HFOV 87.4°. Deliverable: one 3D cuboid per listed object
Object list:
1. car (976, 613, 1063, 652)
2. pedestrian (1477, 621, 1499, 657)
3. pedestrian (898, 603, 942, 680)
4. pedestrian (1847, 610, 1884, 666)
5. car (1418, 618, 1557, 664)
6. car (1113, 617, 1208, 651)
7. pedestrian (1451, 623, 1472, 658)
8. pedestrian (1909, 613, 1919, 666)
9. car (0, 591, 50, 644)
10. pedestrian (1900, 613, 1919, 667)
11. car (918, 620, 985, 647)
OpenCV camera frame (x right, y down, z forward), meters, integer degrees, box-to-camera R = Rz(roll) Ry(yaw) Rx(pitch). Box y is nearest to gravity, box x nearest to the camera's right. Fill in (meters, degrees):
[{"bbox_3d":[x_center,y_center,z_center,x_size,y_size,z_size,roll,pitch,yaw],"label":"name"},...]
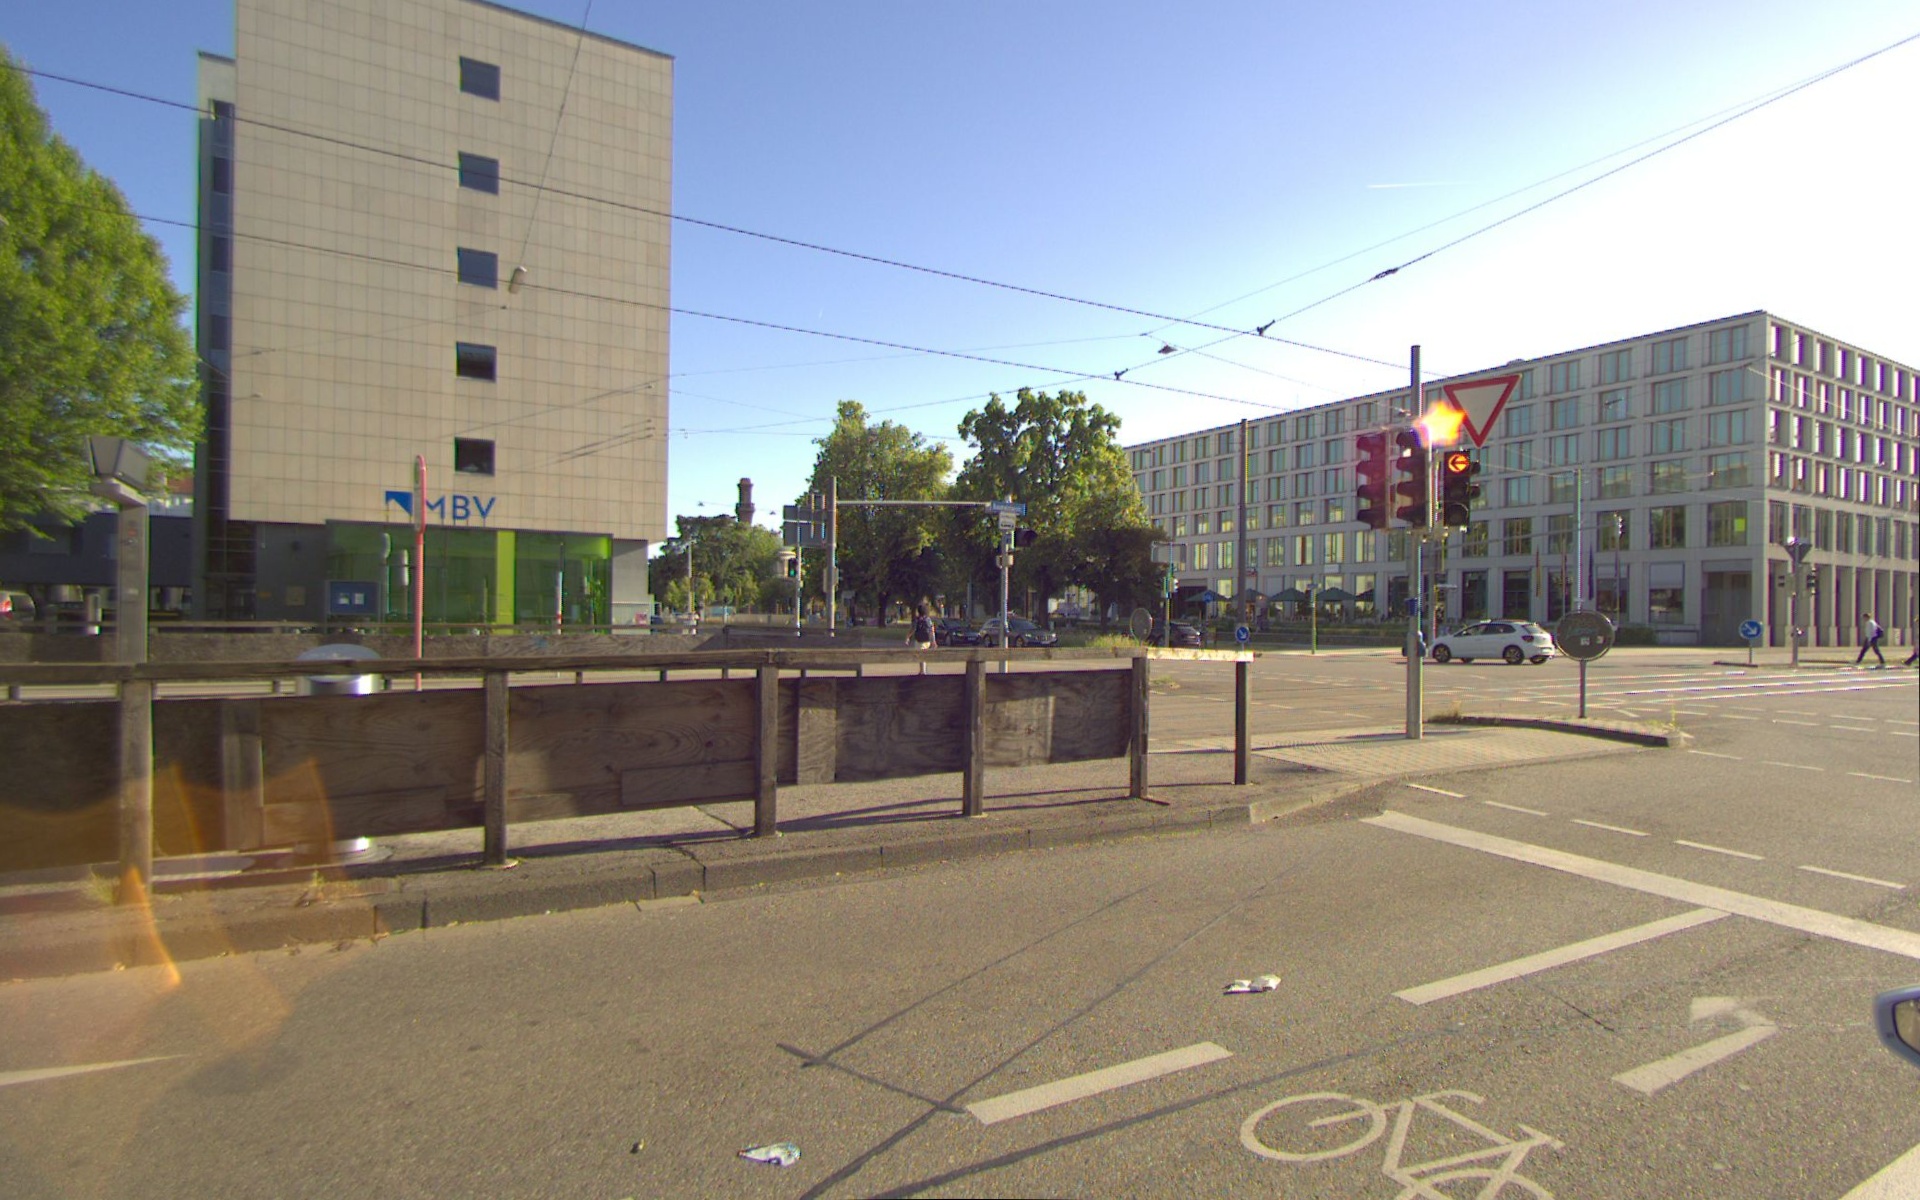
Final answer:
[{"bbox_3d":[2.771,1.523,47.732,1.832,1.602,4.490,1,1,-32],"label":"car"},{"bbox_3d":[25.312,1.865,48.158,0.615,1.666,0.690,1,-1,-34],"label":"pedestrian"},{"bbox_3d":[-0.931,0.953,23.259,0.815,1.739,0.757,1,-1,-21],"label":"pedestrian"},{"bbox_3d":[31.592,1.317,35.055,0.628,1.943,0.800,1,-1,-24],"label":"pedestrian"},{"bbox_3d":[18.269,1.403,34.962,1.615,1.452,4.018,3,-2,-33],"label":"car"},{"bbox_3d":[9.956,1.684,50.340,1.978,1.433,4.710,4,-2,-31],"label":"car"},{"bbox_3d":[24.146,1.952,48.335,0.610,1.666,0.694,1,-1,-13],"label":"pedestrian"},{"bbox_3d":[33.647,1.380,34.983,0.525,1.827,0.737,1,-1,-24],"label":"pedestrian"},{"bbox_3d":[-27.717,0.448,27.796,3.371,1.431,1.562,2,0,-20],"label":"car"},{"bbox_3d":[32.876,1.367,34.447,0.706,1.827,0.737,1,-1,-24],"label":"pedestrian"},{"bbox_3d":[-0.502,1.764,53.384,1.755,1.311,4.209,1,-1,-30],"label":"car"}]
